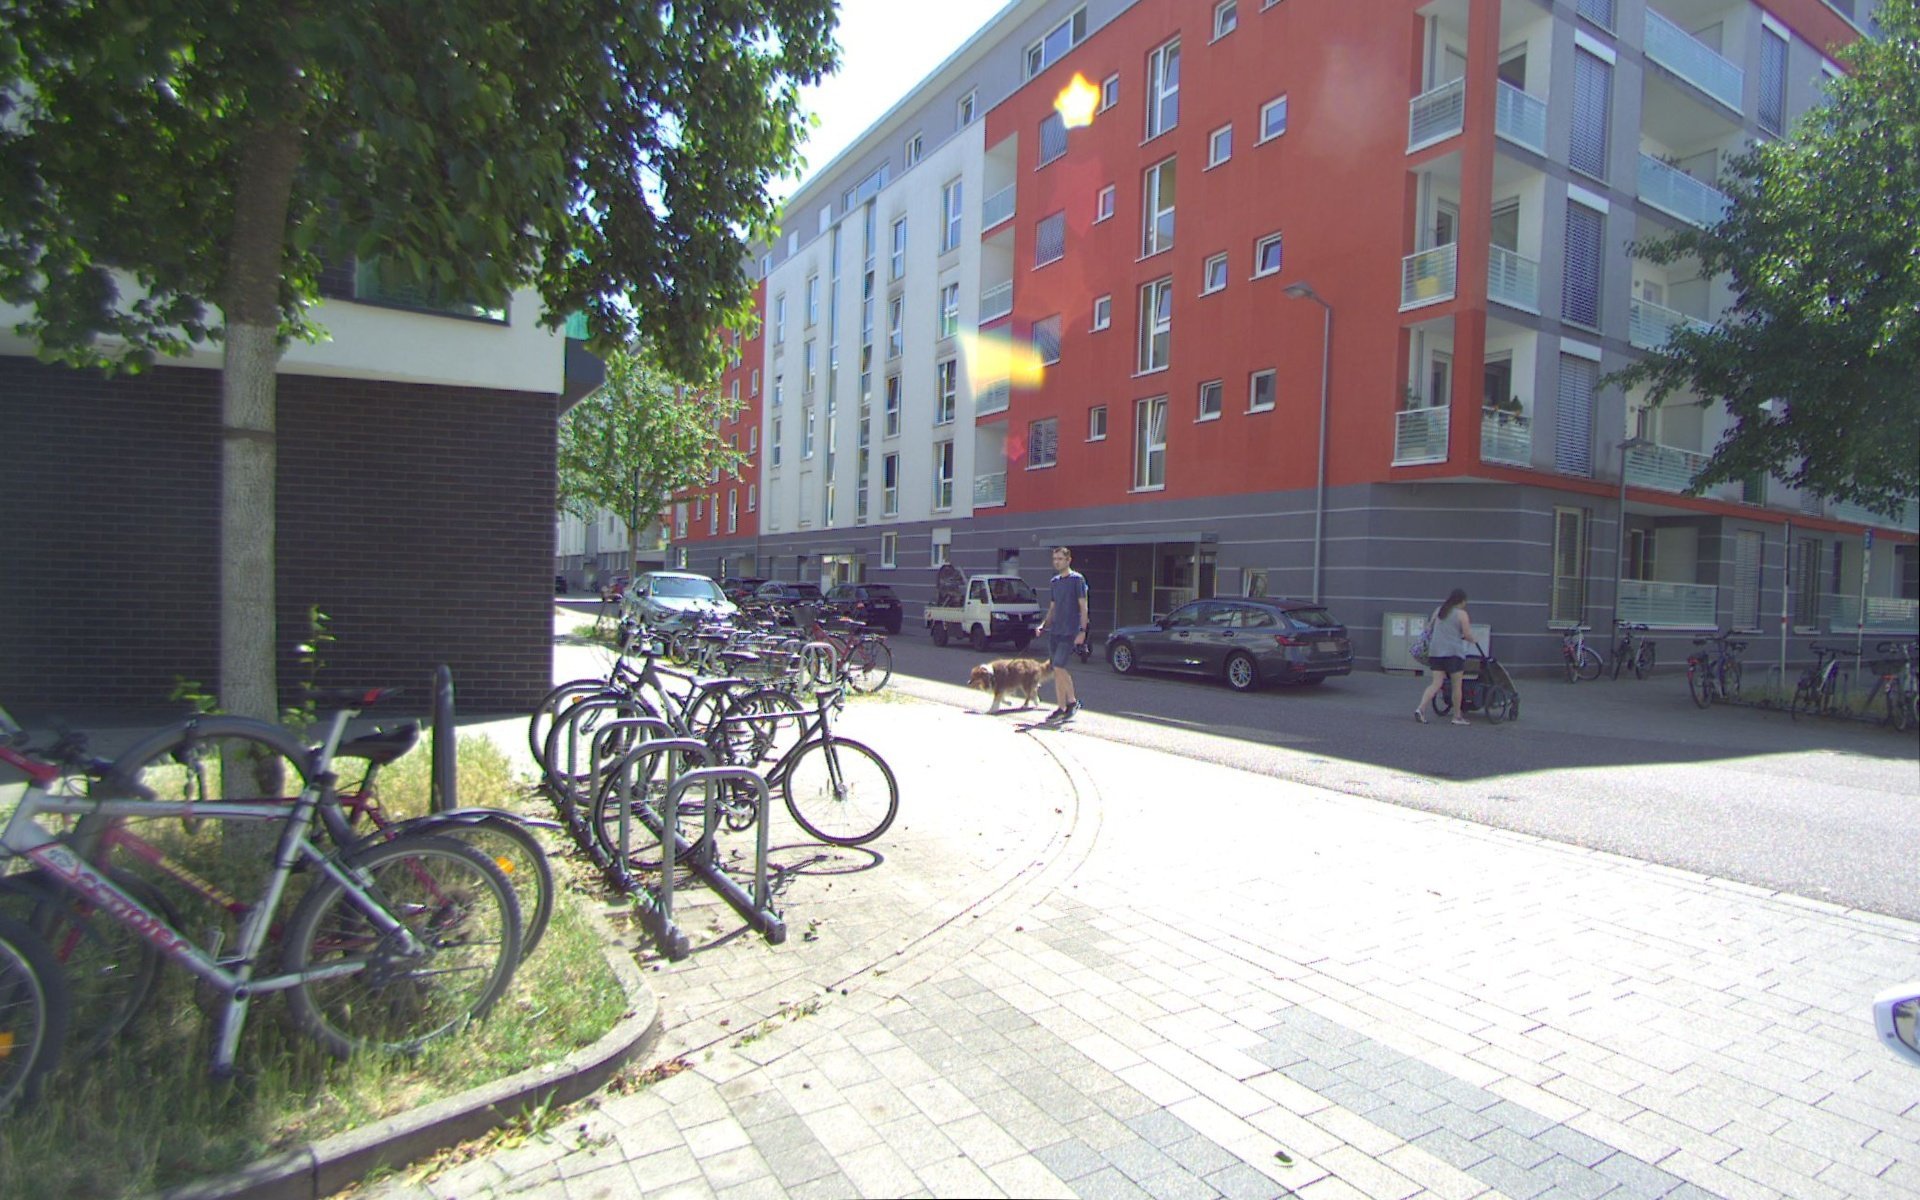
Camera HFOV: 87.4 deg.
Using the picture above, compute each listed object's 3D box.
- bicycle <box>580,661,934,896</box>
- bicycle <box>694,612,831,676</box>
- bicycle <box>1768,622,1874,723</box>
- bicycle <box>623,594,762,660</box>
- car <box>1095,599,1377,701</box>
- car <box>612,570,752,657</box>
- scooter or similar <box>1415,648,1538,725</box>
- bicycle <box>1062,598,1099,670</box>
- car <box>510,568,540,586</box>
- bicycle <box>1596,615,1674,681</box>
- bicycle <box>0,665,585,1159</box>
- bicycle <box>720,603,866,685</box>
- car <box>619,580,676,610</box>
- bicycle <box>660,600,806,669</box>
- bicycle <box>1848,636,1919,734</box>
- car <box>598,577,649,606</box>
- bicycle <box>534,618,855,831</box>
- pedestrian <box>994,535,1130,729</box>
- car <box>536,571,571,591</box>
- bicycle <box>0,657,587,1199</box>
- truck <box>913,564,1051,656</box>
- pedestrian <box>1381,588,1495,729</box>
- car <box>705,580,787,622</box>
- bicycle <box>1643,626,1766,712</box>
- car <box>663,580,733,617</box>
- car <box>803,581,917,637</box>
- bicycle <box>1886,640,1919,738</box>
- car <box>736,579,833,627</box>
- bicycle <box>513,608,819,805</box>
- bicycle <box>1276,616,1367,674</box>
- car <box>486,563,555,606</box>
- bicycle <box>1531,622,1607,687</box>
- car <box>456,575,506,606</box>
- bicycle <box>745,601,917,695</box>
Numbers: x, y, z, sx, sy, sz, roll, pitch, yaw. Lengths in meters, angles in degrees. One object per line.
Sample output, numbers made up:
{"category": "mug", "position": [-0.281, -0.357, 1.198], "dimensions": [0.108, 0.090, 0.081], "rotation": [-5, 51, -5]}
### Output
{"category": "bicycle", "position": [-1.013, 0.847, 5.142], "dimensions": [1.657, 1.004, 0.531], "rotation": [2, 2, -29]}
{"category": "bicycle", "position": [-2.974, 0.661, 15.235], "dimensions": [1.986, 0.920, 0.532], "rotation": [2, 0, -33]}
{"category": "bicycle", "position": [12.381, 1.012, 14.432], "dimensions": [1.791, 1.349, 0.590], "rotation": [0, 1, -31]}
{"category": "bicycle", "position": [-4.709, 0.477, 17.698], "dimensions": [2.244, 1.106, 0.806], "rotation": [2, 0, -26]}
{"category": "car", "position": [4.528, 0.732, 17.189], "dimensions": [1.916, 1.402, 4.545], "rotation": [-1, 2, -33]}
{"category": "car", "position": [-5.601, 0.228, 19.942], "dimensions": [1.948, 1.536, 3.769], "rotation": [2, 1, -27]}
{"category": "scooter or similar", "position": [6.863, 1.120, 13.366], "dimensions": [1.006, 0.900, 1.063], "rotation": [1, 1, -30]}
{"category": "bicycle", "position": [2.502, 0.671, 21.090], "dimensions": [0.669, 1.397, 2.351], "rotation": [2, 0, 5]}
{"category": "car", "position": [-39.519, -2.057, 91.212], "dimensions": [1.978, 1.528, 3.965], "rotation": [1, 1, -31]}
{"category": "bicycle", "position": [13.504, 0.944, 20.071], "dimensions": [1.903, 1.256, 0.548], "rotation": [2, 0, -32]}
{"category": "bicycle", "position": [-2.144, 0.793, 2.897], "dimensions": [1.965, 1.143, 0.429], "rotation": [2, 0, -43]}
{"category": "bicycle", "position": [-2.310, 0.606, 14.044], "dimensions": [1.973, 1.083, 0.487], "rotation": [2, 0, -34]}
{"category": "car", "position": [-16.755, -0.283, 53.729], "dimensions": [1.978, 1.528, 3.965], "rotation": [1, 1, -31]}
{"category": "bicycle", "position": [-3.651, 0.552, 16.292], "dimensions": [2.211, 1.049, 0.703], "rotation": [2, 0, -38]}
{"category": "bicycle", "position": [12.934, 1.142, 13.880], "dimensions": [1.733, 1.220, 0.515], "rotation": [0, 3, -33]}
{"category": "car", "position": [-19.456, -0.513, 57.962], "dimensions": [1.978, 1.528, 3.965], "rotation": [1, 1, -31]}
{"category": "bicycle", "position": [-1.635, 0.708, 6.343], "dimensions": [1.822, 1.151, 0.703], "rotation": [1, 0, -37]}
{"category": "pedestrian", "position": [1.136, 0.345, 11.313], "dimensions": [1.115, 2.040, 1.005], "rotation": [1, 0, -28]}
{"category": "car", "position": [-32.789, -1.556, 80.968], "dimensions": [1.978, 1.528, 3.965], "rotation": [1, 1, -31]}
{"category": "bicycle", "position": [-1.940, 0.772, 2.600], "dimensions": [1.808, 1.196, 0.367], "rotation": [2, 0, -43]}
{"category": "truck", "position": [0.457, 0.161, 24.256], "dimensions": [1.543, 2.041, 3.709], "rotation": [-2, 2, -33]}
{"category": "pedestrian", "position": [6.094, 0.712, 12.838], "dimensions": [0.822, 1.713, 0.995], "rotation": [1, 0, -30]}
{"category": "car", "position": [-8.559, 0.015, 39.923], "dimensions": [1.978, 1.528, 3.965], "rotation": [1, 1, -31]}
{"category": "bicycle", "position": [11.542, 1.033, 15.556], "dimensions": [2.197, 1.186, 0.685], "rotation": [0, 4, -31]}
{"category": "car", "position": [-11.839, -0.082, 45.263], "dimensions": [1.978, 1.528, 3.965], "rotation": [1, 1, -31]}
{"category": "car", "position": [-3.096, 0.239, 30.466], "dimensions": [1.977, 1.469, 3.967], "rotation": [1, 2, -30]}
{"category": "bicycle", "position": [12.952, 1.156, 13.348], "dimensions": [1.680, 1.220, 0.432], "rotation": [0, 3, -31]}
{"category": "car", "position": [-6.151, 0.078, 34.859], "dimensions": [1.978, 1.528, 3.965], "rotation": [1, 1, -31]}
{"category": "bicycle", "position": [-2.008, 0.677, 6.941], "dimensions": [1.899, 1.189, 0.744], "rotation": [2, 0, -29]}
{"category": "bicycle", "position": [7.032, 0.858, 19.625], "dimensions": [0.298, 1.000, 1.829], "rotation": [1, 1, -33]}
{"category": "car", "position": [-17.226, -0.618, 39.278], "dimensions": [1.978, 1.528, 3.965], "rotation": [1, 1, -31]}
{"category": "bicycle", "position": [11.329, 0.988, 18.644], "dimensions": [2.090, 1.122, 0.601], "rotation": [2, 1, -42]}
{"category": "car", "position": [-25.434, -0.520, 53.301], "dimensions": [1.978, 1.528, 3.965], "rotation": [1, 1, -31]}
{"category": "bicycle", "position": [-1.625, 0.593, 12.831], "dimensions": [2.082, 1.106, 0.704], "rotation": [2, 0, -36]}
